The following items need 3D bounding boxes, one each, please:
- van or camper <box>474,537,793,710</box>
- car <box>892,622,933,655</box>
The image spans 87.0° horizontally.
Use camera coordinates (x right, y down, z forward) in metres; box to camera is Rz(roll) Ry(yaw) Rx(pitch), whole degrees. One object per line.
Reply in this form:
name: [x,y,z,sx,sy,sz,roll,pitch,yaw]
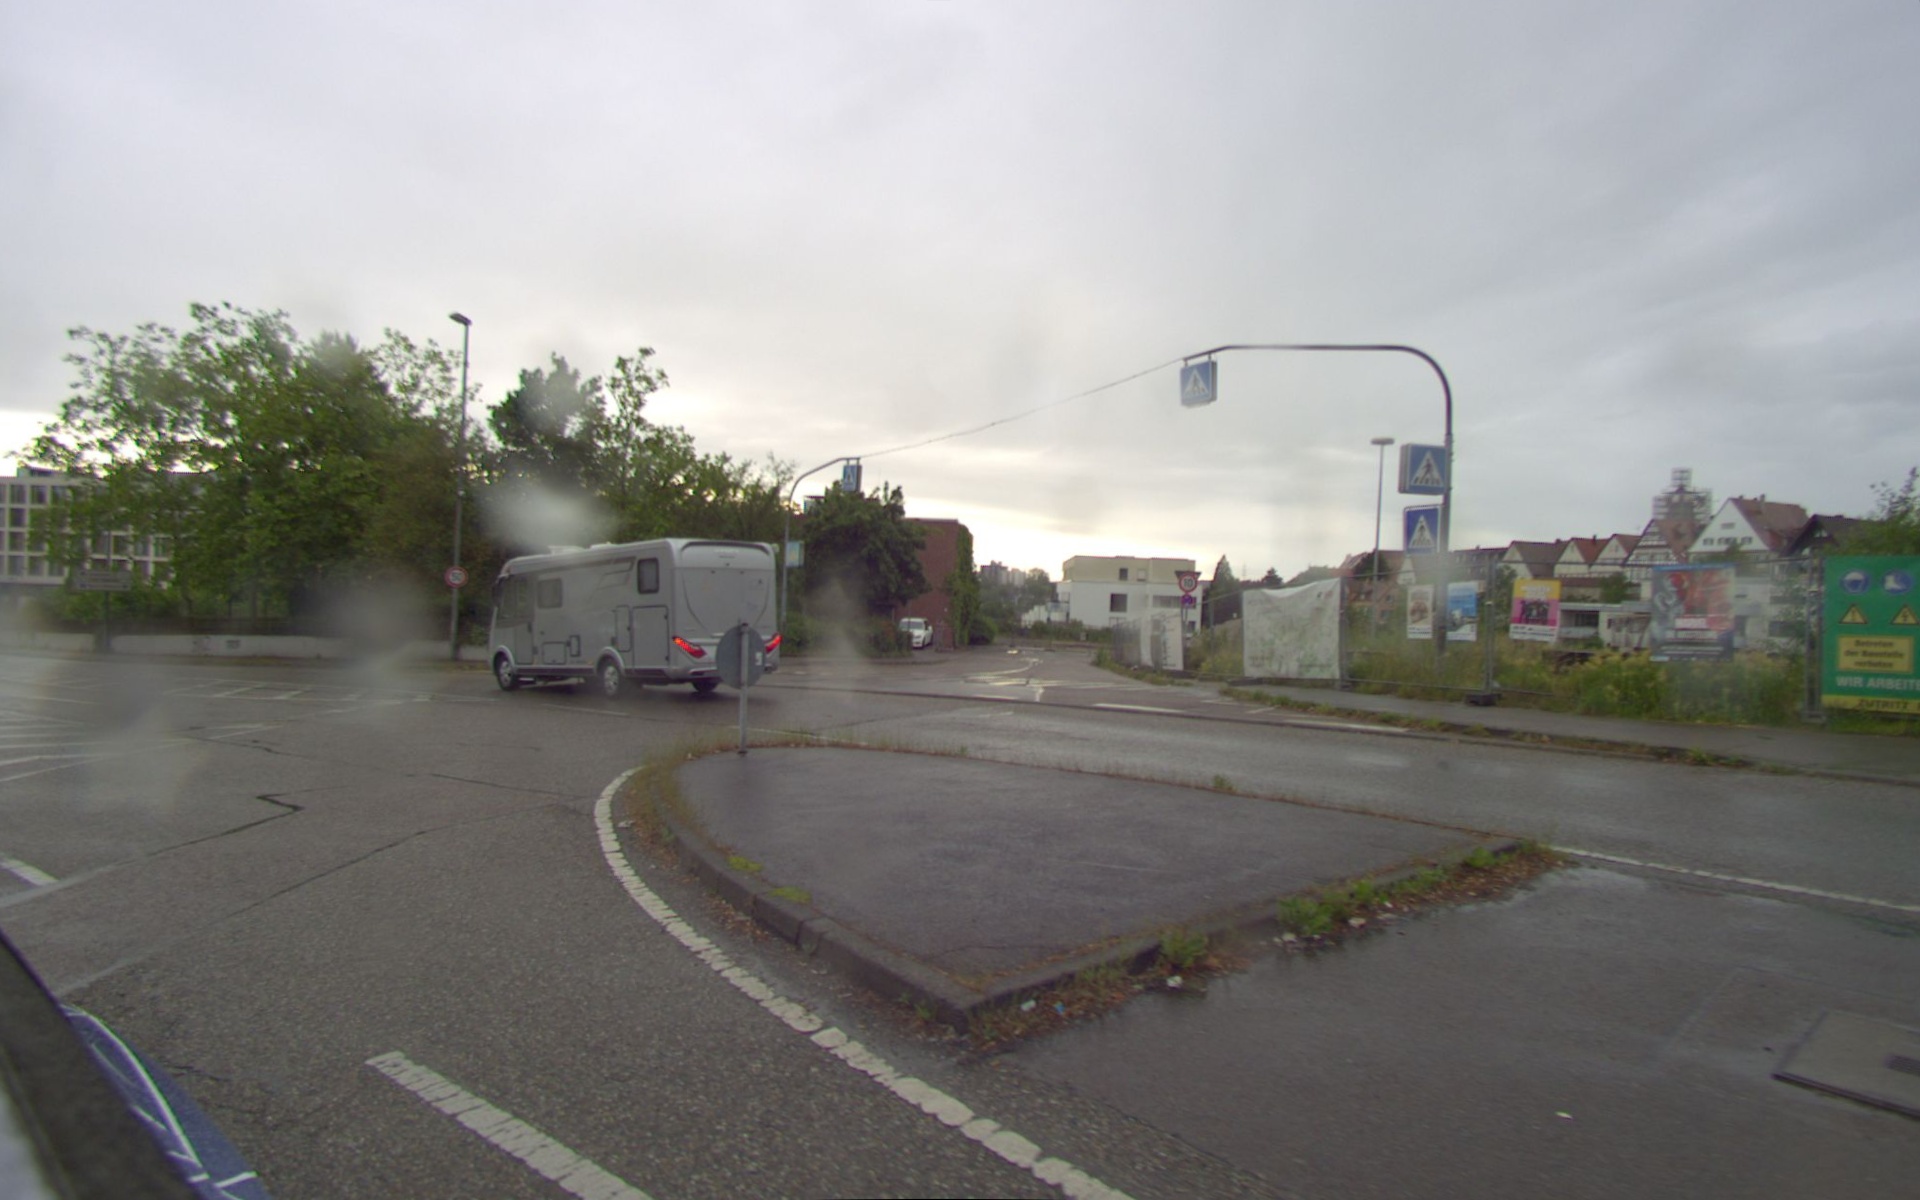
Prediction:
van or camper: [-6.288,0.417,18.833,7.015,2.676,2.343,-1,-1,41]
car: [-2.451,2.005,53.084,1.680,1.619,4.287,0,-1,4]
